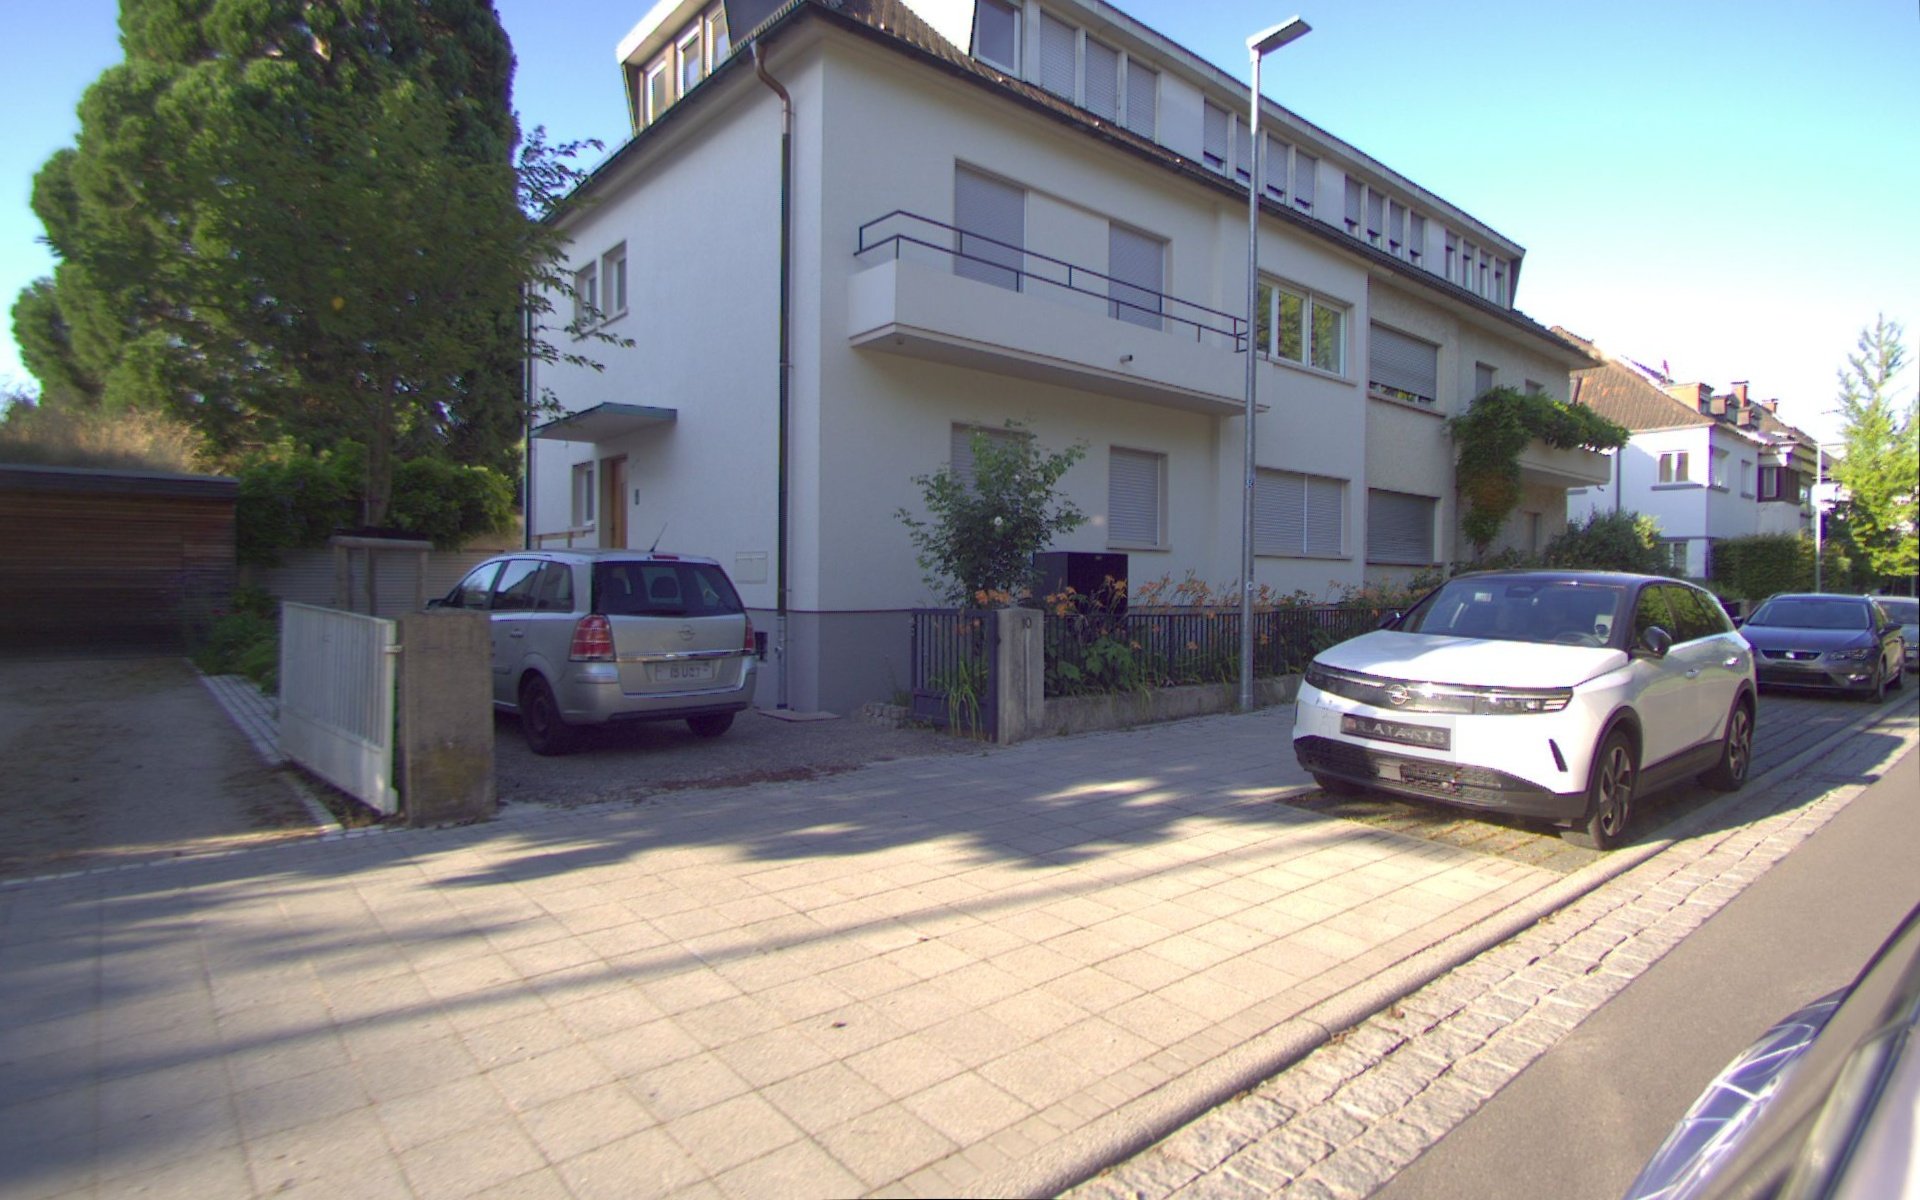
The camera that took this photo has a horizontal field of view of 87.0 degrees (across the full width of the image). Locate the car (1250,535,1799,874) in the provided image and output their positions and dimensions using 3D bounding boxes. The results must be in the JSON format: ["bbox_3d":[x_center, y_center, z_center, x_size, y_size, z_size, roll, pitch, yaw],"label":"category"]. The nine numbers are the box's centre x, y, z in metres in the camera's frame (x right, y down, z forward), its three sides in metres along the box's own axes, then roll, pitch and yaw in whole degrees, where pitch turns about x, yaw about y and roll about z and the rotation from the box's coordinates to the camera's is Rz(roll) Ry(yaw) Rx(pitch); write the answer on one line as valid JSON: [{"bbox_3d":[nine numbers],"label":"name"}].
[{"bbox_3d":[4.272,0.491,7.337,4.493,1.729,1.910,0,3,-39],"label":"car"}]

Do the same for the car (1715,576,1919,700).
[{"bbox_3d":[12.762,0.446,14.868,4.121,1.512,1.798,-1,3,-41],"label":"car"}]

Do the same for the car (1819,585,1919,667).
[{"bbox_3d":[18.253,0.445,19.636,4.007,1.397,1.798,-1,3,-41],"label":"car"}]

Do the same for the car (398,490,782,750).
[{"bbox_3d":[-3.548,0.162,9.324,3.983,1.868,1.786,-1,-1,44],"label":"car"}]
